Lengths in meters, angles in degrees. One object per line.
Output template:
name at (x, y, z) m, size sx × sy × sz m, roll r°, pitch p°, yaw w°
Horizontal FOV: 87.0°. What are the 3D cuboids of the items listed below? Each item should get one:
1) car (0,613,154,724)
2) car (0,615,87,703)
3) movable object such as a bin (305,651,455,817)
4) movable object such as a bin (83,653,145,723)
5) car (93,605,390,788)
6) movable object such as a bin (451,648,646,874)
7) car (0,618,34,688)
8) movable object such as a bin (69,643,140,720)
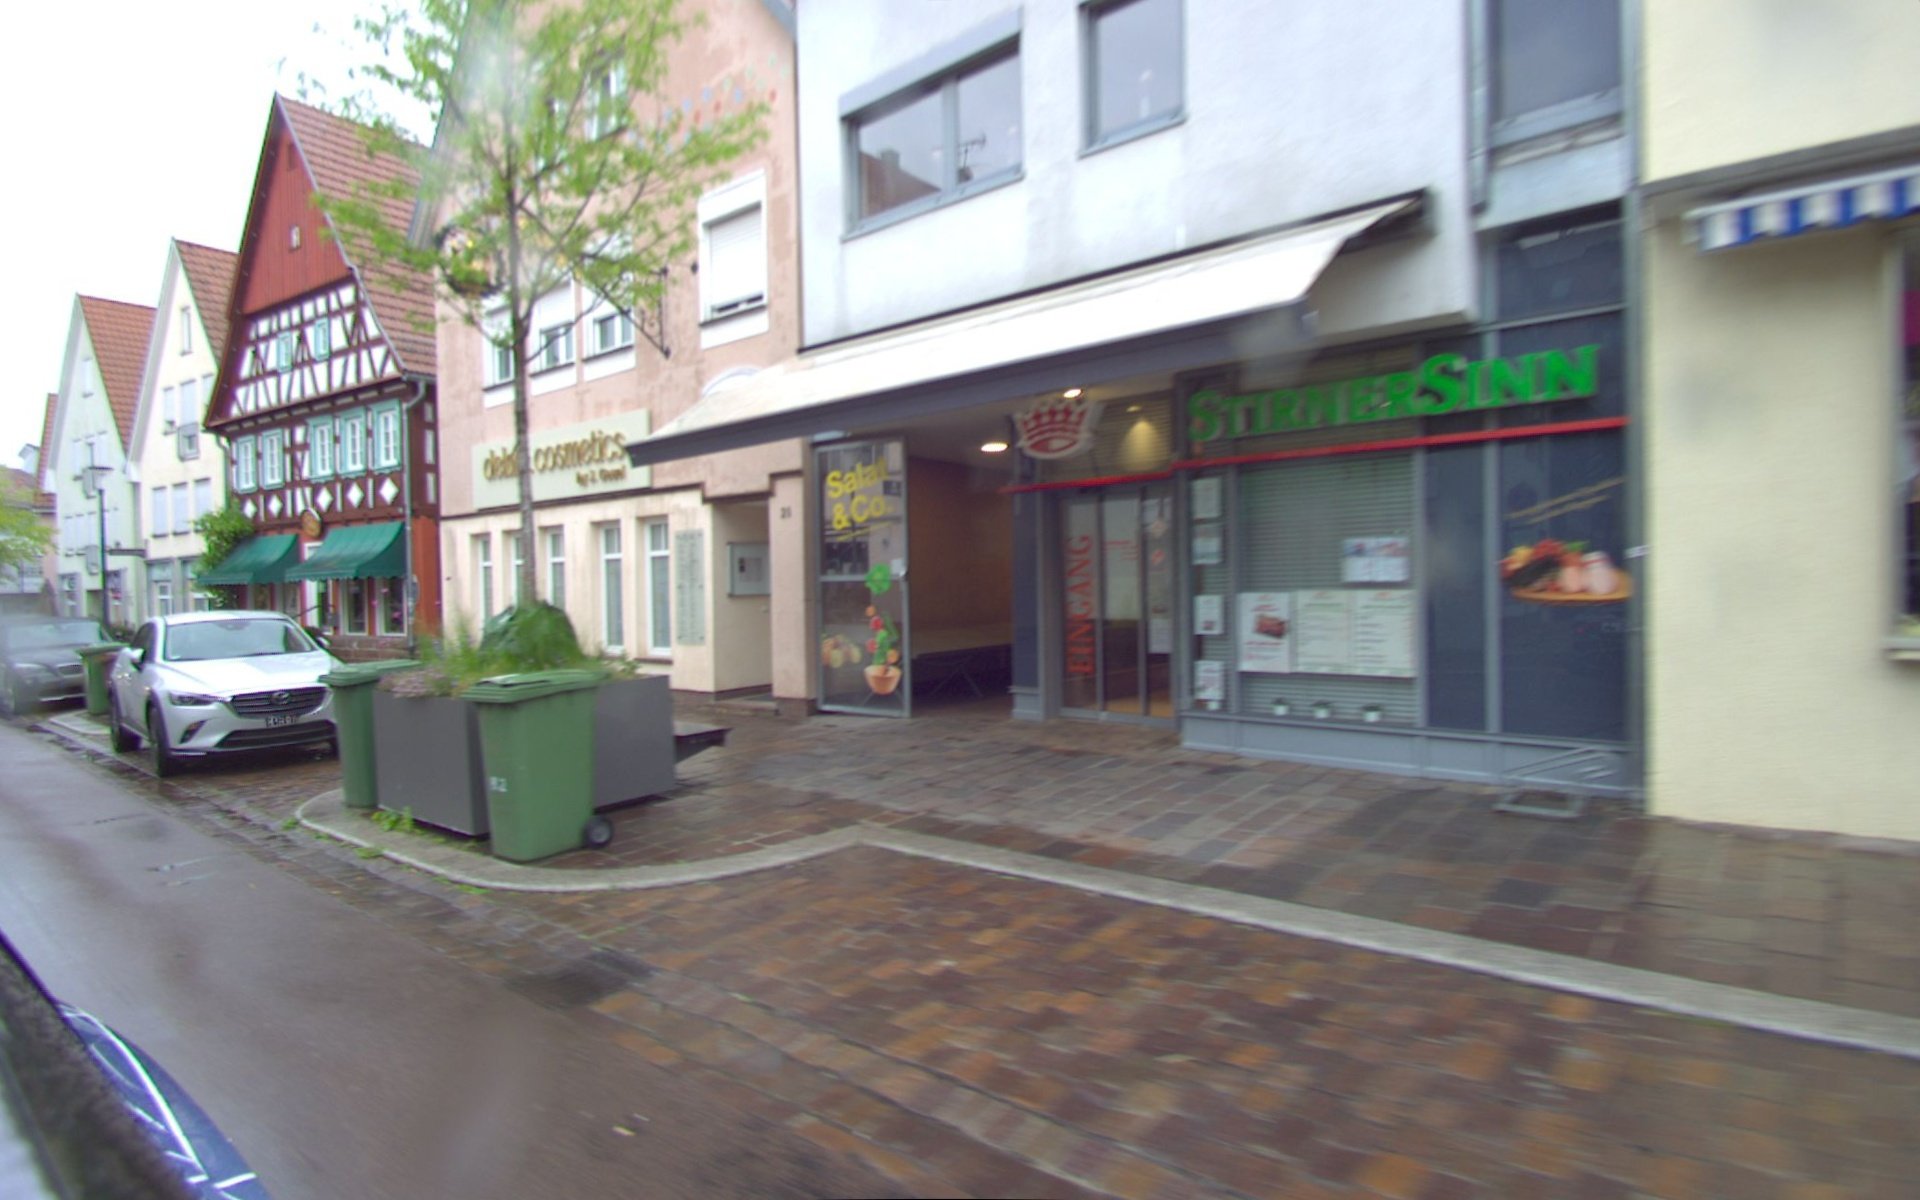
car at (-16.006, 1.099, 17.914) m, size 4.278 × 1.563 × 1.815 m, roll 0°, pitch 4°, yaw 40°
car at (-20.751, 1.217, 22.137) m, size 4.537 × 1.687 × 1.815 m, roll 0°, pitch 1°, yaw 40°
movable object such as a bin at (-4.384, 0.971, 7.669) m, size 0.609 × 1.114 × 0.807 m, roll 0°, pitch 1°, yaw 36°
movable object such as a bin at (-12.576, 1.294, 15.046) m, size 0.562 × 0.962 × 0.649 m, roll 0°, pitch 1°, yaw 44°
car at (-7.869, 0.860, 10.949) m, size 3.999 × 1.578 × 1.807 m, roll 0°, pitch 1°, yaw 42°
movable object such as a bin at (-2.394, 0.890, 5.930) m, size 0.609 × 1.114 × 0.808 m, roll 0°, pitch 4°, yaw 36°
car at (-25.990, 1.398, 26.803) m, size 4.479 × 1.687 × 1.753 m, roll 0°, pitch 2°, yaw 43°
movable object such as a bin at (-13.096, 1.226, 15.497) m, size 0.764 × 1.090 × 0.739 m, roll 0°, pitch 1°, yaw 44°
